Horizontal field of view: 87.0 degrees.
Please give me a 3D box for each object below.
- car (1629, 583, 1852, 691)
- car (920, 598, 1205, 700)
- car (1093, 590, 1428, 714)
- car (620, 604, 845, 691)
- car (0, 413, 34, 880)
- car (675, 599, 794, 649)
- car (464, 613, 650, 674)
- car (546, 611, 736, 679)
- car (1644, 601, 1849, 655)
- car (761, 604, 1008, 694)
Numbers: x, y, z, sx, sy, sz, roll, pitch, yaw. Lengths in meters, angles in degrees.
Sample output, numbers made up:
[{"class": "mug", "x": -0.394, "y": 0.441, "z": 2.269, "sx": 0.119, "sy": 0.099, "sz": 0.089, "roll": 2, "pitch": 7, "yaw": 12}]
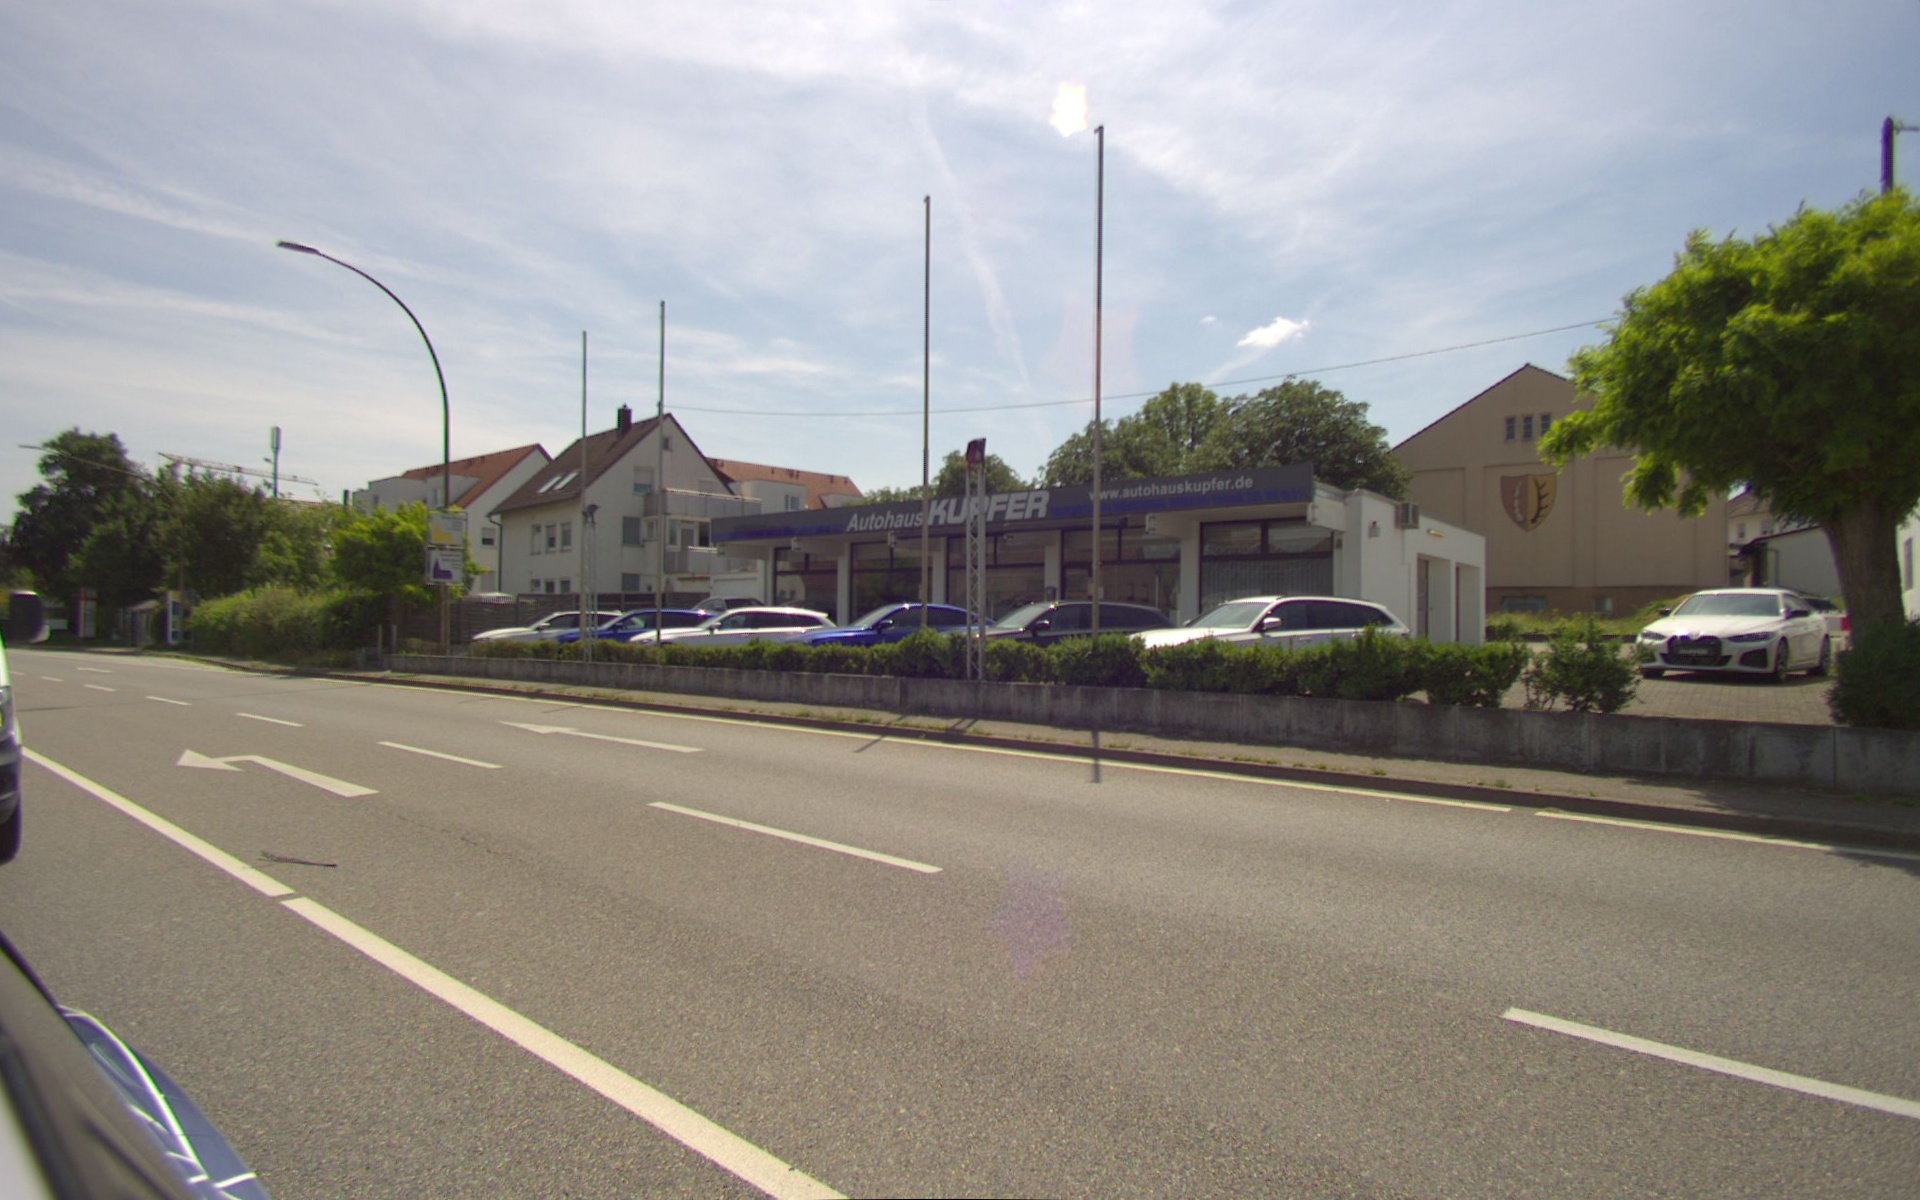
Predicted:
[{"class": "car", "x": 12.671, "y": 0.527, "z": 16.375, "sx": 3.935, "sy": 1.521, "sz": 1.839, "roll": -1, "pitch": -1, "yaw": -37}, {"class": "car", "x": 1.693, "y": 0.751, "z": 16.709, "sx": 4.267, "sy": 1.458, "sz": 1.905, "roll": -1, "pitch": -1, "yaw": -25}, {"class": "car", "x": 4.171, "y": 0.617, "z": 14.002, "sx": 4.267, "sy": 1.458, "sz": 1.863, "roll": -1, "pitch": 0, "yaw": -25}, {"class": "car", "x": -4.890, "y": 0.952, "z": 21.720, "sx": 4.438, "sy": 1.458, "sz": 1.863, "roll": -3, "pitch": 1, "yaw": -20}, {"class": "car", "x": -7.955, "y": 0.303, "z": 6.760, "sx": 5.745, "sy": 2.548, "sz": 1.915, "roll": -1, "pitch": -1, "yaw": 40}, {"class": "car", "x": -7.287, "y": 0.754, "z": 32.366, "sx": 1.782, "sy": 1.475, "sz": 4.589, "roll": -1, "pitch": 0, "yaw": -40}, {"class": "car", "x": -10.817, "y": 1.121, "z": 27.357, "sx": 4.501, "sy": 1.458, "sz": 1.863, "roll": -1, "pitch": 0, "yaw": -21}, {"class": "car", "x": -7.802, "y": 1.055, "z": 24.800, "sx": 4.267, "sy": 1.458, "sz": 1.863, "roll": -1, "pitch": 0, "yaw": -21}, {"class": "car", "x": 20.838, "y": 0.728, "z": 26.941, "sx": 3.945, "sy": 1.231, "sz": 1.791, "roll": -2, "pitch": 0, "yaw": 2}, {"class": "car", "x": -1.432, "y": 0.852, "z": 19.154, "sx": 4.267, "sy": 1.458, "sz": 1.863, "roll": -1, "pitch": 0, "yaw": -24}]
